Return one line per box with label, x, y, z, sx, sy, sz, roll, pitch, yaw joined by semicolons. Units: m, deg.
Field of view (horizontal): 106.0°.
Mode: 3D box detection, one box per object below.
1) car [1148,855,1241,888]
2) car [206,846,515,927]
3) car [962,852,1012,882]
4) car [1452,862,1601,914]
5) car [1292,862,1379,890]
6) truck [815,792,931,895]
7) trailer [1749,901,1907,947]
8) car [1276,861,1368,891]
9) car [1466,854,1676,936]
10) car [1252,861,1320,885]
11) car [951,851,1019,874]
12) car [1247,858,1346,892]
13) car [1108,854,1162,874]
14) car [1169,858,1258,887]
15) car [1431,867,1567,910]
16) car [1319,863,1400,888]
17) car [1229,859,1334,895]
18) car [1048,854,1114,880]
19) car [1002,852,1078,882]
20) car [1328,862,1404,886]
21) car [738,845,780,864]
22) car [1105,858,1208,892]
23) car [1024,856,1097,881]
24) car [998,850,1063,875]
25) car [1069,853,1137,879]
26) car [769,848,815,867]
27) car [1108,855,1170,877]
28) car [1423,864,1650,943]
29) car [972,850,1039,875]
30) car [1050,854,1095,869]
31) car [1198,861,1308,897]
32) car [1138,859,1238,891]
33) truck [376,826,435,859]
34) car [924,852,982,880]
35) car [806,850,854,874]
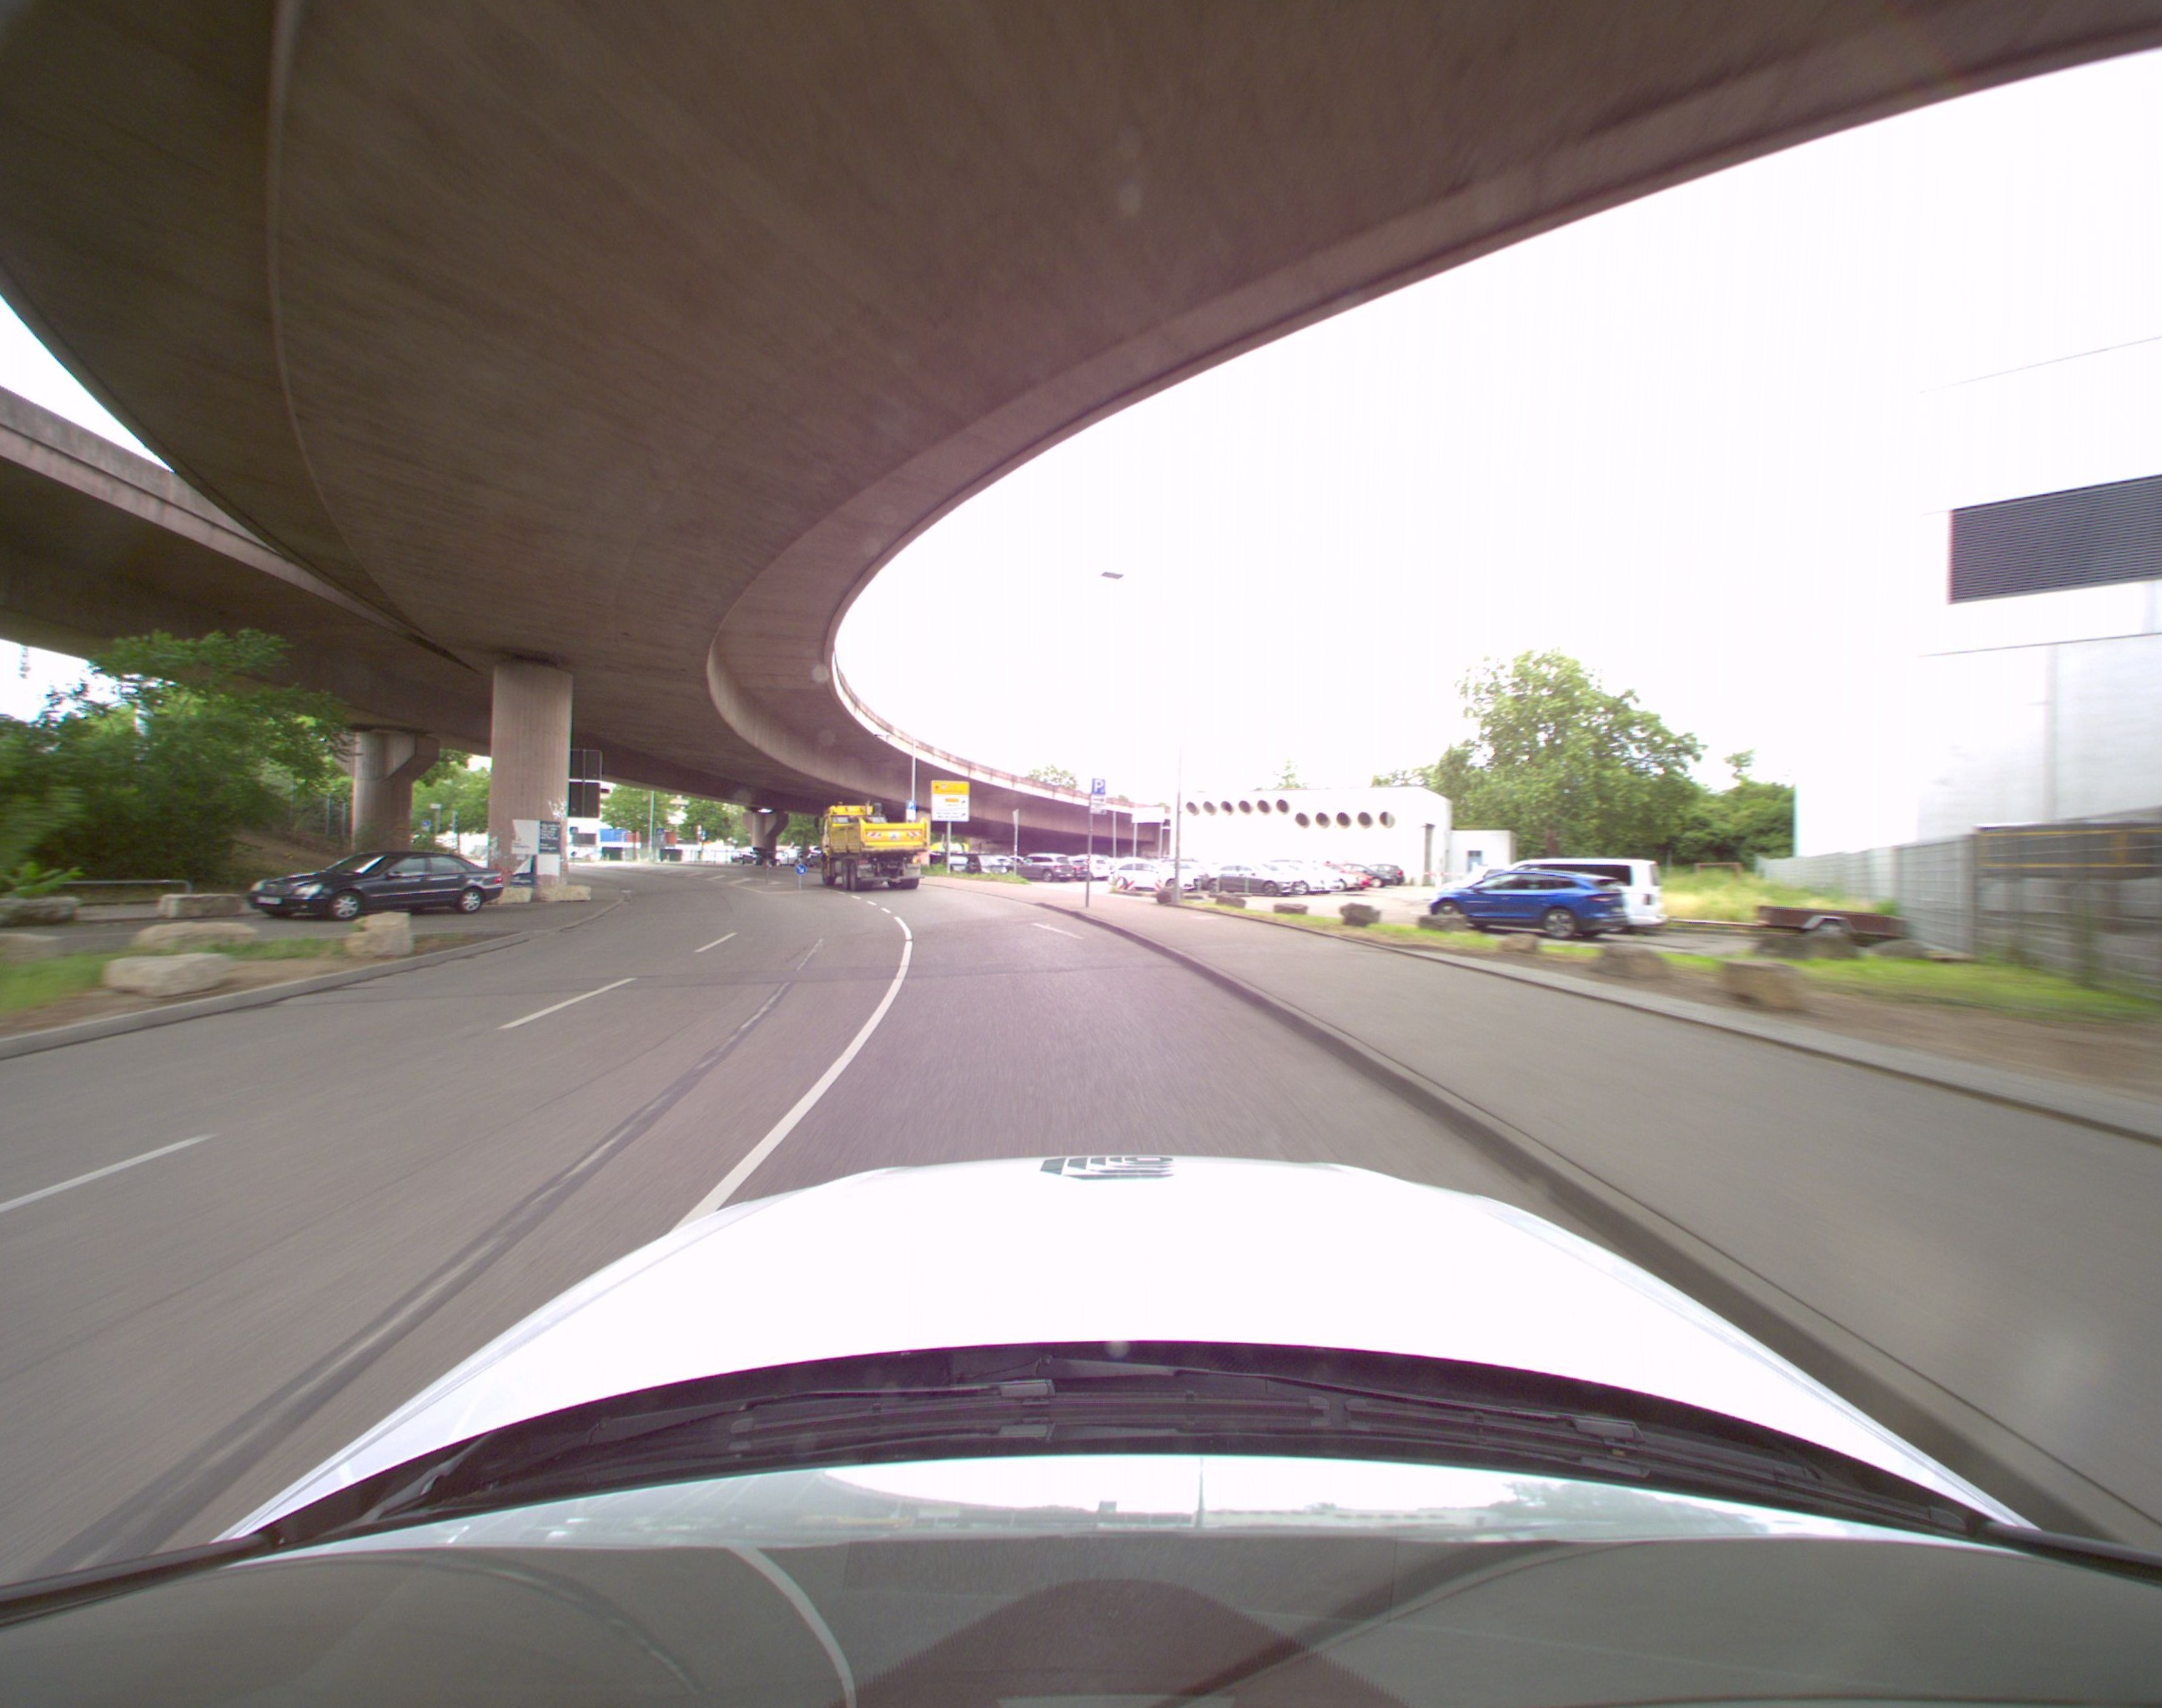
car;6.072;0.906;43.775;4.561;1.628;1.870;1;0;35
car;-15.373;0.633;17.826;1.809;1.430;4.792;3;0;15
car;-4.933;0.651;42.401;1.550;1.479;2.733;1;0;-32
car;15.388;1.107;28.229;4.305;1.588;1.787;1;0;36
car;14.625;1.221;46.832;4.385;1.425;1.851;1;0;37
truck;-8.717;-0.434;33.364;2.774;3.698;7.808;-2;1;-28
trailer;17.517;1.613;19.237;2.527;0.899;1.493;-1;-1;33
car;13.202;1.167;44.678;4.443;1.513;1.851;1;0;37
car;13.320;1.007;22.322;4.621;1.957;1.905;1;0;43
car;13.396;1.228;53.296;3.925;1.392;1.780;1;0;35
car;-6.218;0.535;52.570;4.138;1.421;1.850;1;0;34
car;10.770;1.004;40.854;4.443;1.513;1.851;1;0;37
car;4.515;0.804;68.509;4.138;1.592;1.850;1;0;34
car;7.414;0.994;45.661;4.561;1.444;1.870;1;0;35
car;15.693;1.254;30.669;4.305;1.384;1.787;1;0;38
car;17.317;1.310;50.772;4.385;1.425;1.851;1;0;37
car;9.444;1.041;38.525;4.443;1.513;1.851;1;0;37
car;-0.040;0.832;53.805;4.035;1.557;1.768;1;0;34
car;-2.525;0.783;49.435;4.412;1.675;1.757;1;0;34
car;18.933;1.301;54.142;4.385;1.425;1.851;1;0;37
car;-24.847;0.028;62.809;3.535;1.397;1.620;1;-2;45
car;3.603;0.983;39.377;4.626;1.475;1.870;1;0;37
car;-1.321;0.885;51.641;4.401;1.449;1.768;1;0;34
car;-3.504;0.576;56.185;4.138;1.592;1.850;1;0;34
car;1.493;0.794;55.805;4.375;1.691;1.768;1;0;34
car;-25.684;0.310;72.393;3.960;1.552;1.649;1;0;31
car;4.240;0.873;59.558;4.206;1.509;1.720;1;0;34
car;11.192;1.125;20.338;1.783;1.634;4.633;1;0;-37
car;-5.053;0.555;54.318;4.138;1.592;1.850;1;0;34
car;-0.890;0.724;81.510;4.138;1.465;1.850;1;0;34
car;7.652;1.063;36.417;4.385;1.425;1.851;1;0;37
car;5.397;1.020;41.295;4.626;1.475;1.870;1;0;35
truck;-77.403;-1.330;93.303;7.821;3.558;2.699;-1;1;31
car;-7.296;0.656;46.212;1.741;1.479;4.207;1;0;-32
car;-17.025;0.533;55.169;3.368;1.533;1.620;1;-2;45
